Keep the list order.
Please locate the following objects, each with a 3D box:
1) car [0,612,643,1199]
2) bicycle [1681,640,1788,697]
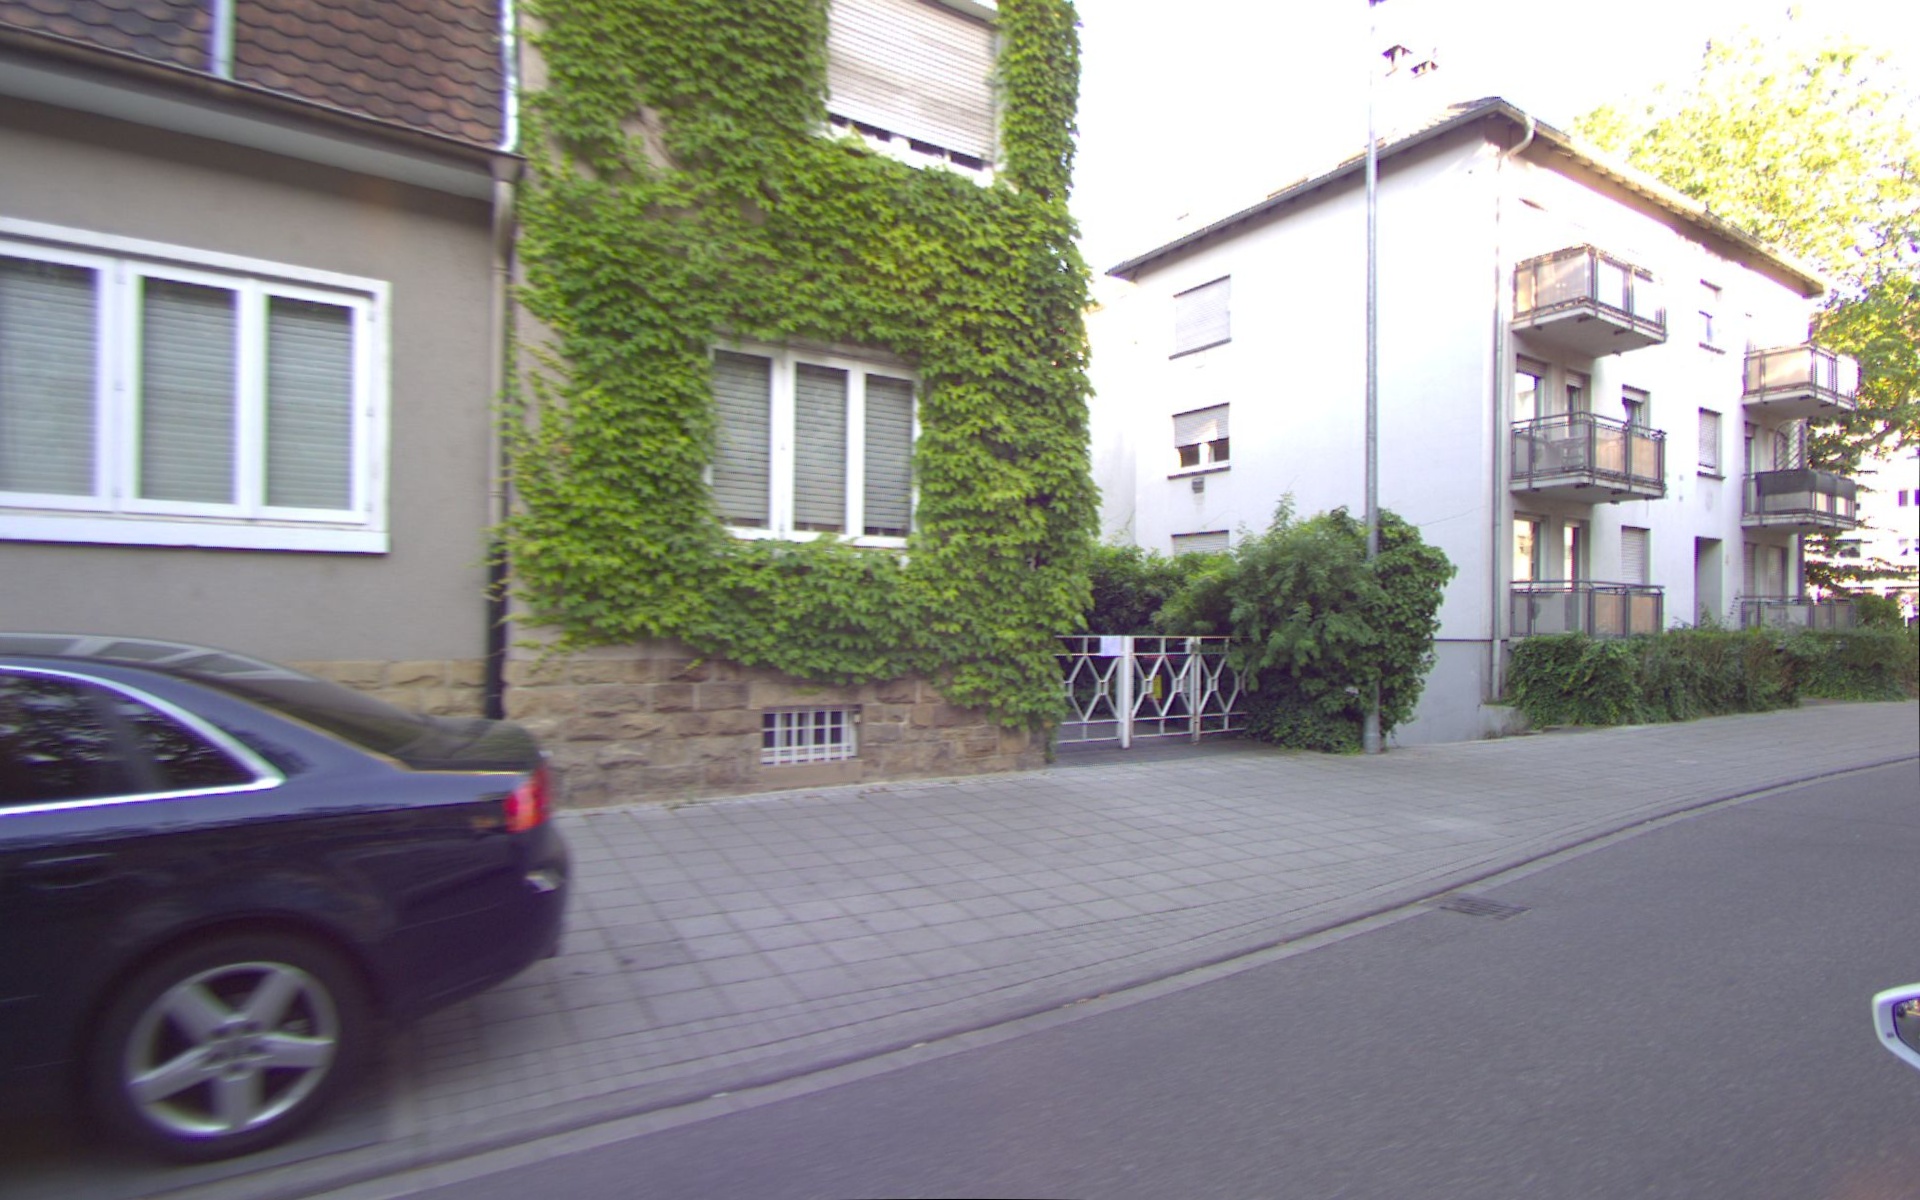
[{"bbox_3d":[-3.382,0.795,2.983,4.376,1.466,1.793,1,1,-30],"label":"car"},{"bbox_3d":[15.634,1.364,20.308,1.590,1.022,0.517,2,1,20],"label":"bicycle"}]
